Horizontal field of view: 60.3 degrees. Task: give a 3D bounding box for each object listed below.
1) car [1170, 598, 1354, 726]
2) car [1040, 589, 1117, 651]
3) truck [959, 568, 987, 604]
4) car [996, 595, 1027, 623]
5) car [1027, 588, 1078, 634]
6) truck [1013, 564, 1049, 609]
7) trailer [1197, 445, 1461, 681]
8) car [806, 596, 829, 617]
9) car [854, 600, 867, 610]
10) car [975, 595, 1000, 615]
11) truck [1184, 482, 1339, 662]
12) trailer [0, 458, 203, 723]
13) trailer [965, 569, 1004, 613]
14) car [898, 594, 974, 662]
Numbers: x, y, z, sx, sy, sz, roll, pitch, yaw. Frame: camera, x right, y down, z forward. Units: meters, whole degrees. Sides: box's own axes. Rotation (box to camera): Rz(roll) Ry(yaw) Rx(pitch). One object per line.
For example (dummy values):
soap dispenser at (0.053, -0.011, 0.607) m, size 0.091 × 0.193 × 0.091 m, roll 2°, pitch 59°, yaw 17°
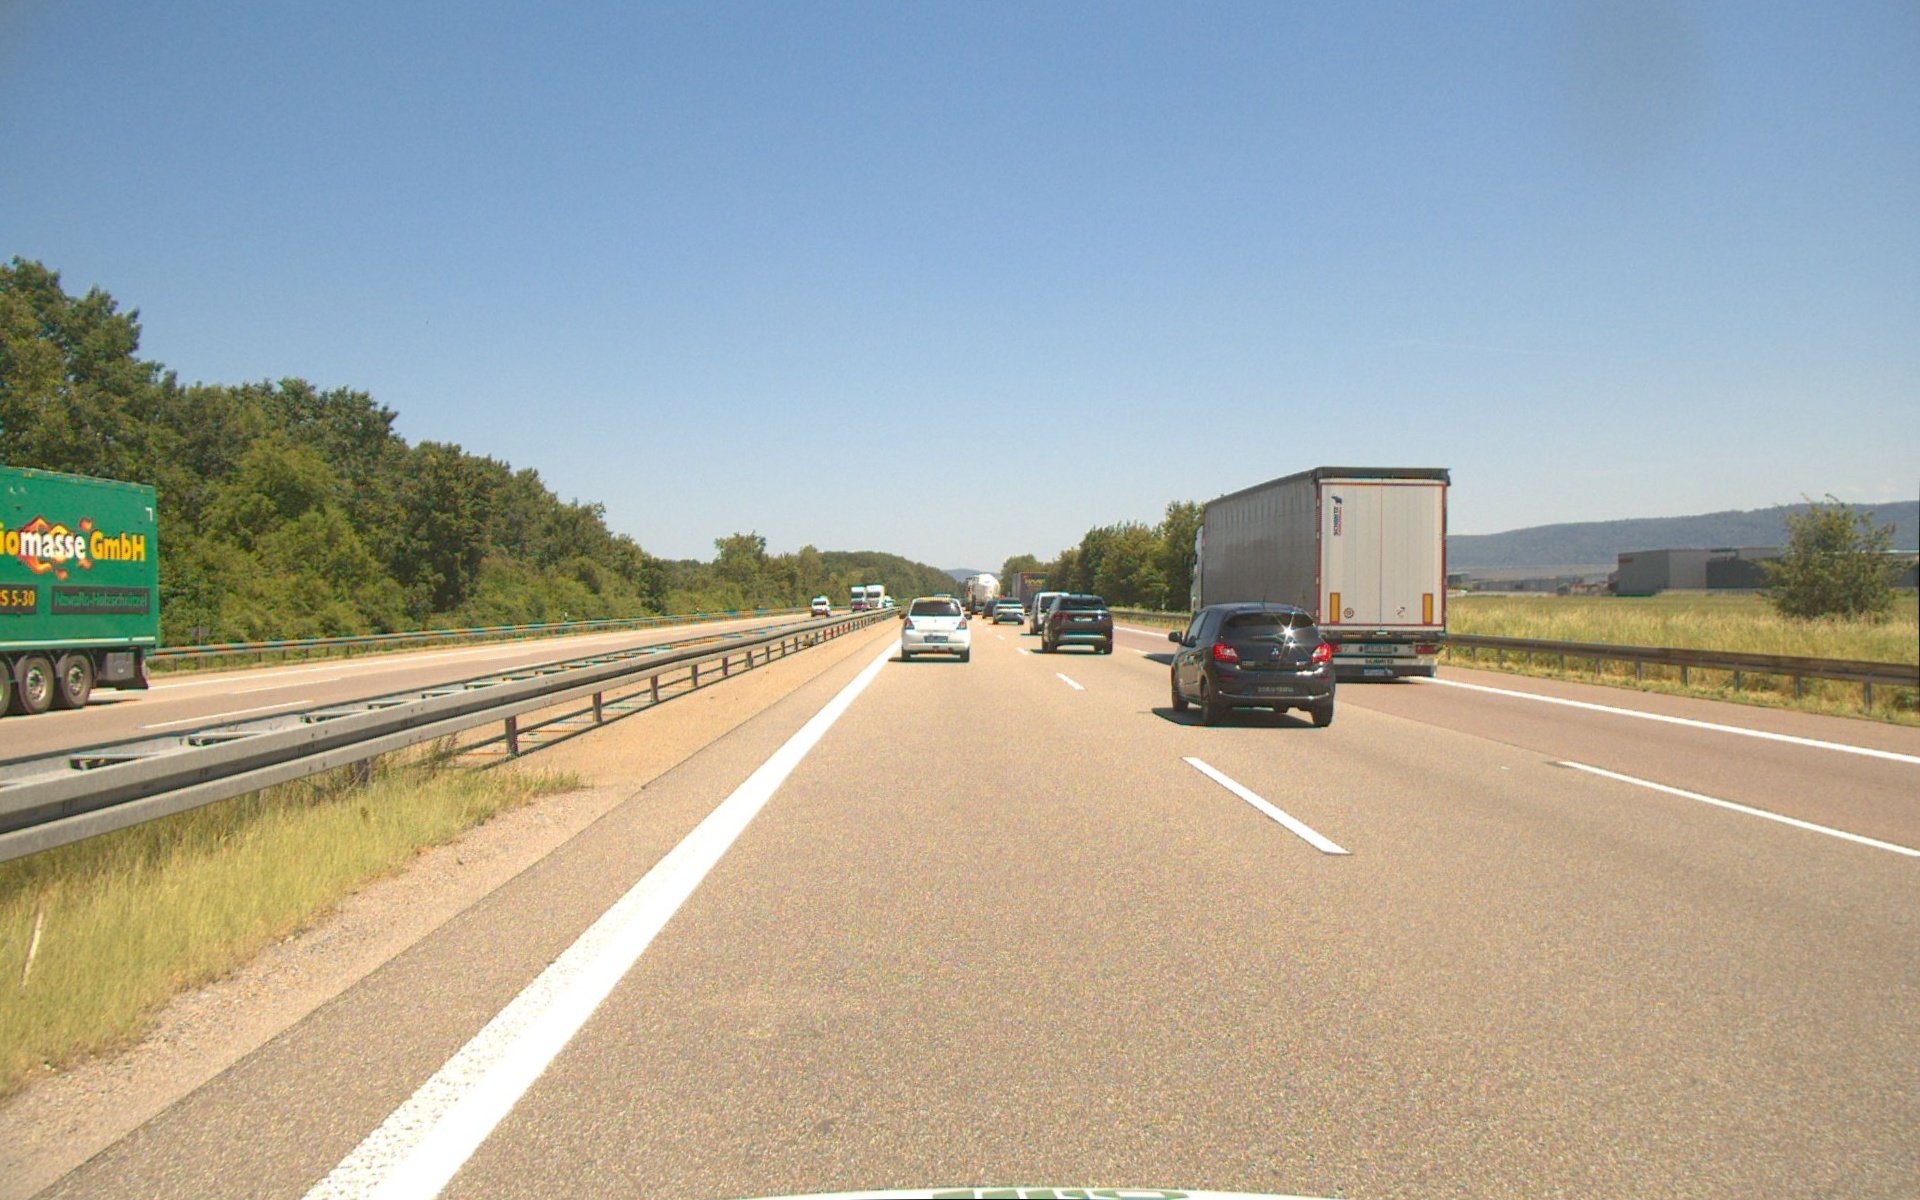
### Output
car at (3.808, 0.742, 21.387) m, size 1.653 × 1.499 × 3.431 m, roll 1°, pitch 0°, yaw -2°
car at (3.426, 0.578, 48.539) m, size 1.829 × 1.704 × 4.745 m, roll 1°, pitch 0°, yaw -1°
truck at (1.651, -1.698, 204.756) m, size 3.325 × 4.287 × 12.083 m, roll 1°, pitch 0°, yaw 1°
car at (3.113, 0.548, 100.700) m, size 1.765 × 1.631 × 4.380 m, roll 1°, pitch 0°, yaw 0°
car at (4.009, 0.470, 72.399) m, size 1.815 × 1.895 × 4.700 m, roll 1°, pitch 0°, yaw -1°
truck at (6.987, -1.222, 164.886) m, size 3.045 × 4.211 × 15.511 m, roll 1°, pitch 0°, yaw 1°
trailer at (7.937, -0.674, 38.076) m, size 2.752 × 4.380 × 14.252 m, roll 1°, pitch 0°, yaw 0°
car at (-14.371, 0.658, 166.896) m, size 1.752 × 2.049 × 4.380 m, roll -3°, pitch 0°, yaw 0°
car at (-14.254, 0.704, 236.808) m, size 1.737 × 1.442 × 4.109 m, roll -3°, pitch 0°, yaw -1°
car at (2.126, 0.398, 128.319) m, size 1.812 × 1.549 × 3.956 m, roll 1°, pitch 0°, yaw 0°
truck at (7.894, -0.685, 44.250) m, size 2.752 × 4.380 × 7.192 m, roll 1°, pitch 0°, yaw 0°
trailer at (-16.304, -0.084, 25.430) m, size 2.818 × 4.114 × 13.680 m, roll -3°, pitch 0°, yaw 0°
trailer at (2.345, -0.834, 164.088) m, size 2.854 × 4.140 × 12.409 m, roll 1°, pitch 0°, yaw -4°
car at (-0.583, 0.662, 40.688) m, size 1.762 × 1.579 × 3.609 m, roll 1°, pitch 0°, yaw -1°
